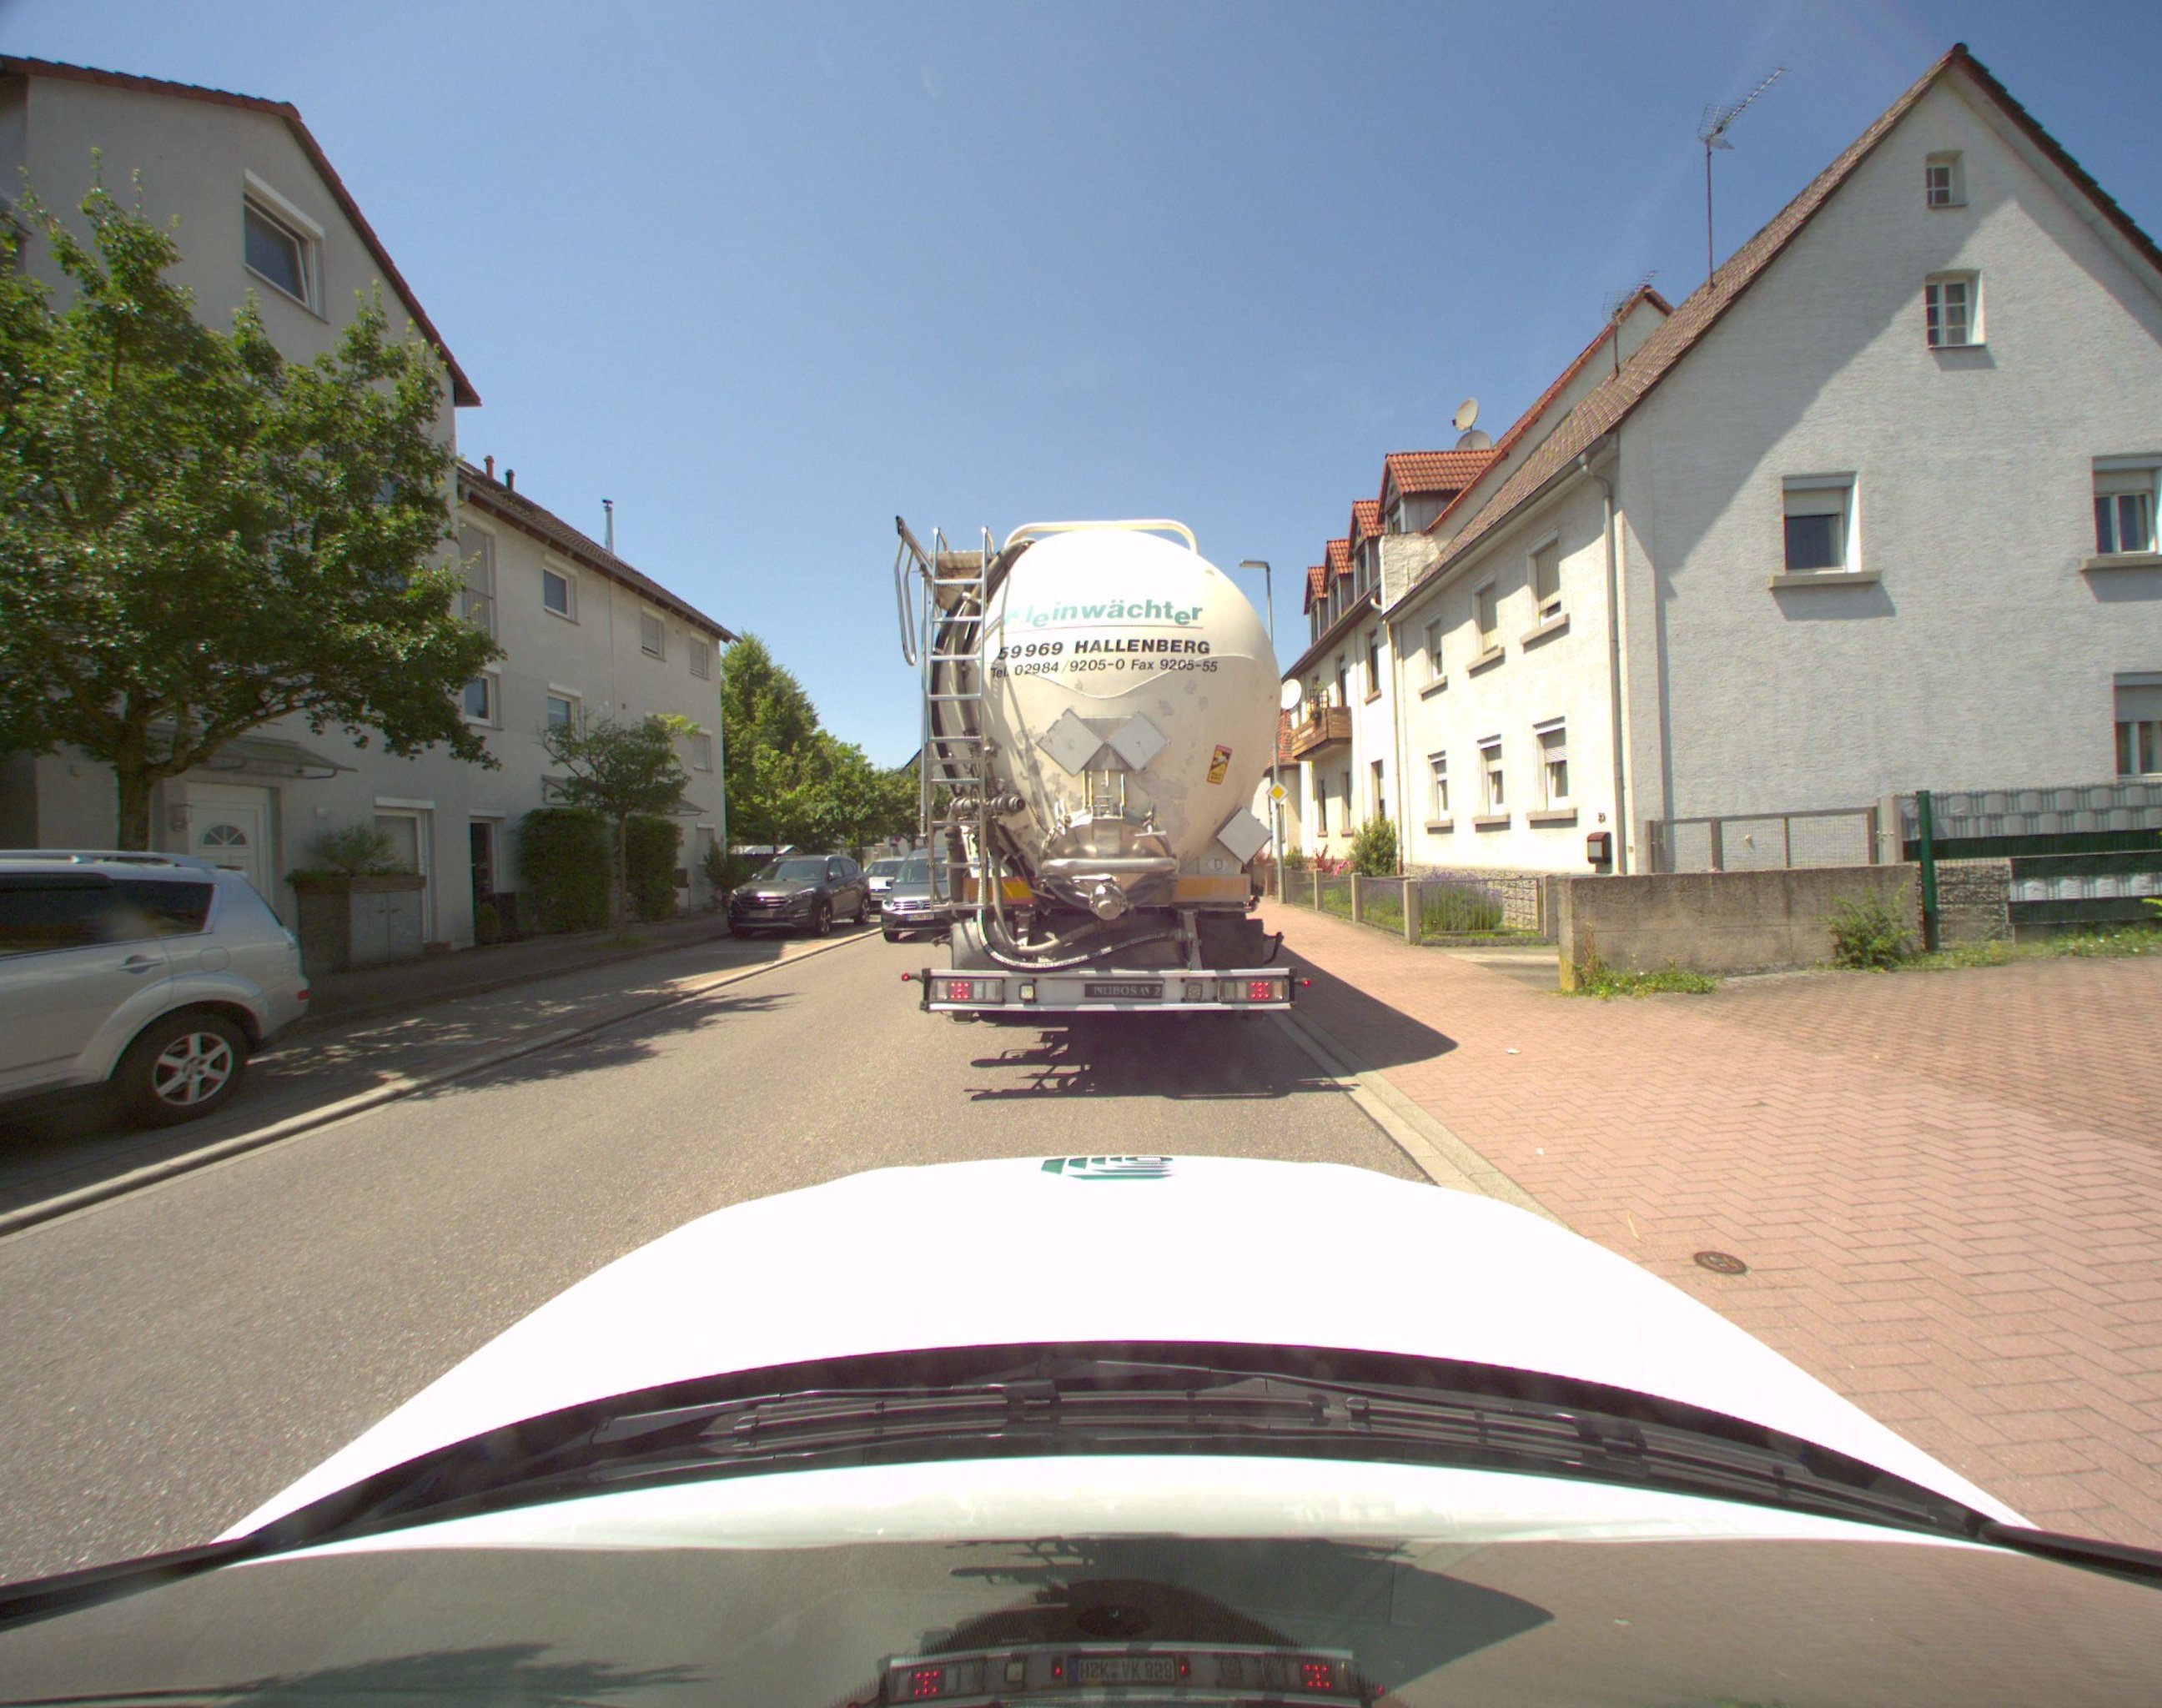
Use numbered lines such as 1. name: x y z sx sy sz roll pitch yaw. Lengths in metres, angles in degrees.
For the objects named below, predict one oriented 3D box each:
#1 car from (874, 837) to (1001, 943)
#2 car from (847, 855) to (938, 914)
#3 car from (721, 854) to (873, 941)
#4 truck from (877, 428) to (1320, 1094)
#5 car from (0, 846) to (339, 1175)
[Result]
1. car: -2.851 0.646 17.156 1.649 1.855 4.466 -3 0 2
2. car: -5.484 0.825 24.149 1.691 1.581 3.838 -1 0 1
3. car: -5.924 0.824 17.521 1.685 1.620 3.999 -1 0 2
4. truck: 0.271 -0.576 9.760 2.631 4.015 9.566 -1 0 2
5. car: -6.407 0.818 3.784 1.700 1.686 4.526 -1 0 1
